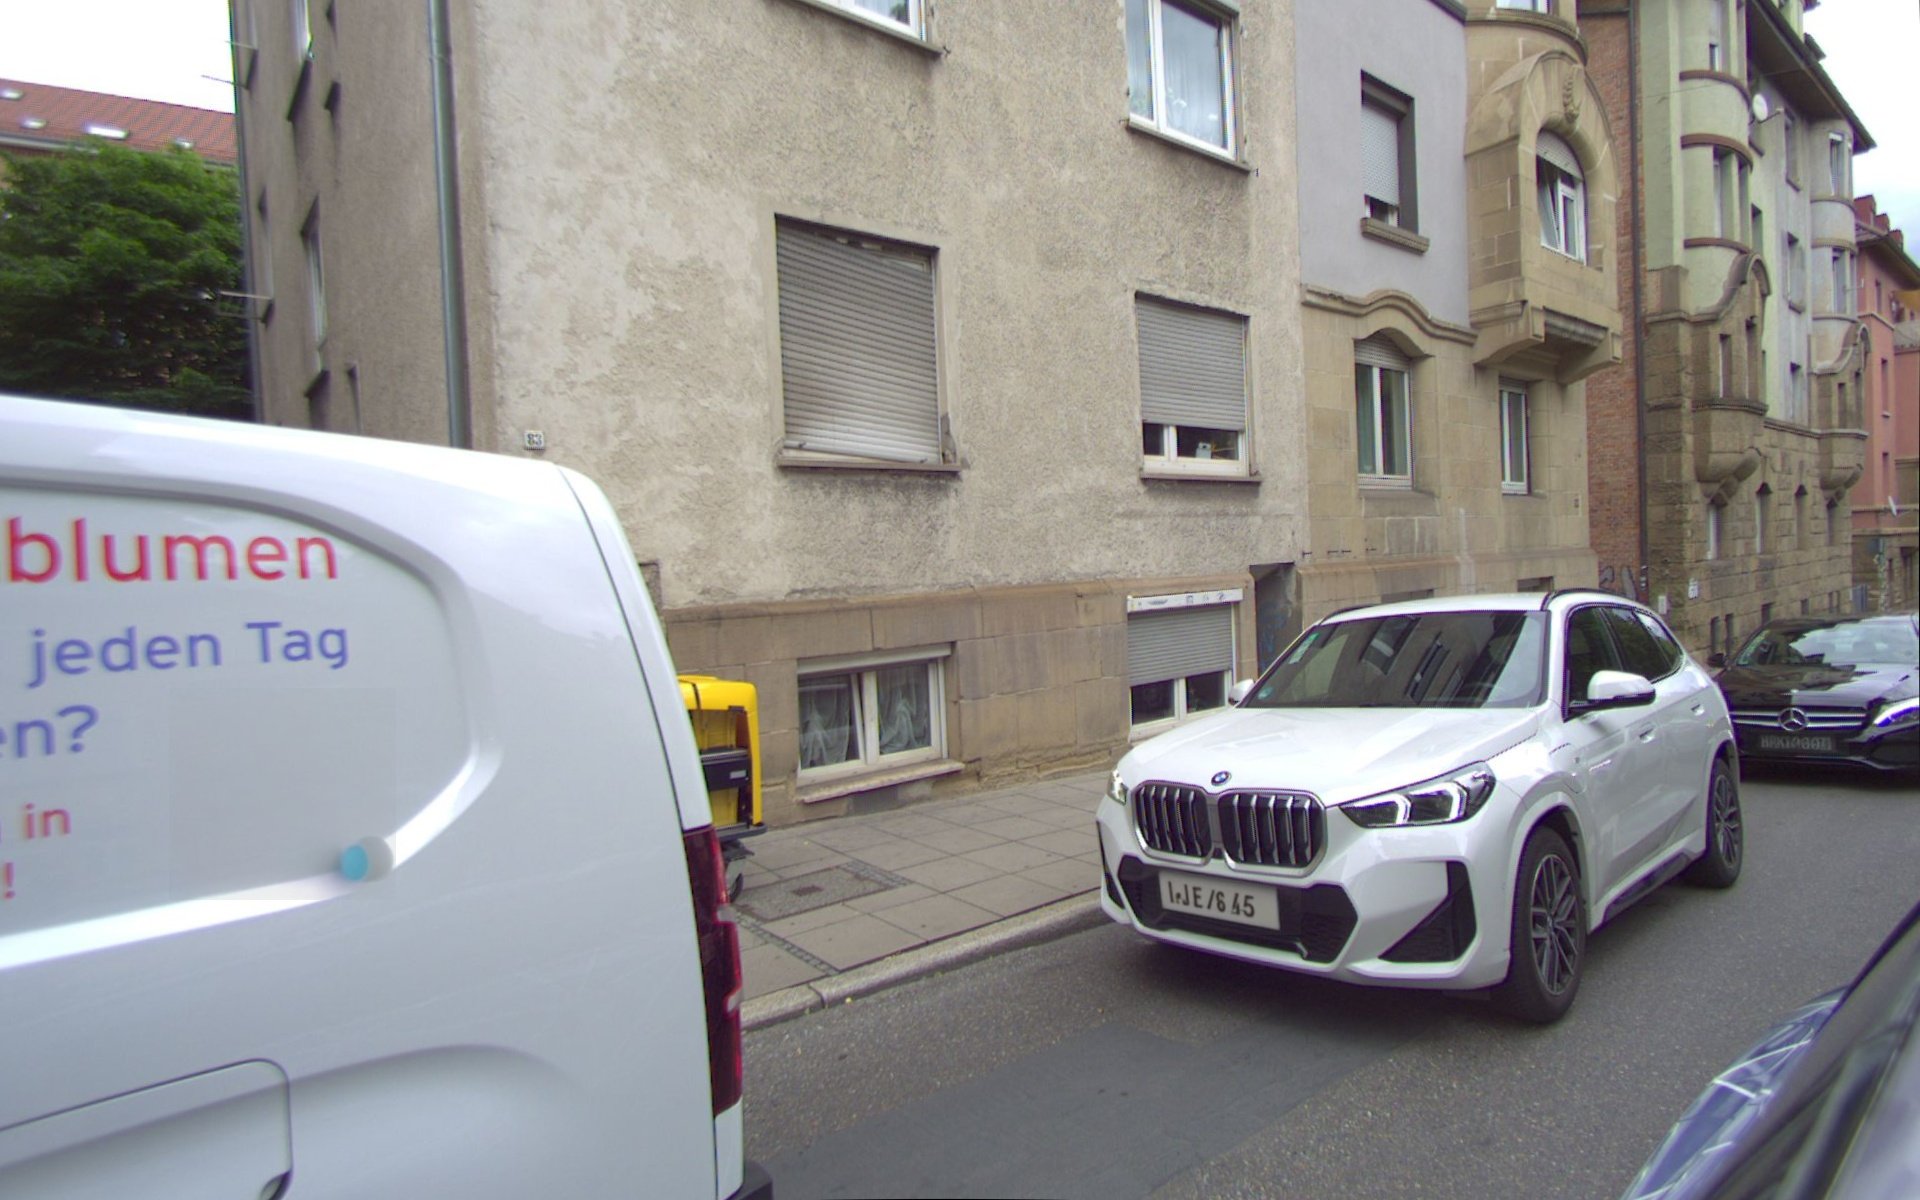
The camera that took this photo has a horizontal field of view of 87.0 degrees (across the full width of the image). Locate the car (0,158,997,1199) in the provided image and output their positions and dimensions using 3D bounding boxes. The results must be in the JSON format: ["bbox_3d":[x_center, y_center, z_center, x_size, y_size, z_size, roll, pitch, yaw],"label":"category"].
[{"bbox_3d":[-2.309,0.542,0.947,4.597,1.798,1.977,-1,-3,-42],"label":"car"}]

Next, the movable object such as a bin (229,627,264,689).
[{"bbox_3d":[-10.985,0.887,15.581,0.405,0.923,0.340,0,0,-40],"label":"movable object such as a bin"}]

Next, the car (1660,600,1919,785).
[{"bbox_3d":[8.451,0.744,9.652,4.133,1.395,1.882,-1,-3,-41],"label":"car"}]

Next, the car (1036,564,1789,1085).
[{"bbox_3d":[2.582,0.720,5.215,4.276,1.576,1.857,-1,-4,-42],"label":"car"}]

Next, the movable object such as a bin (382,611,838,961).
[{"bbox_3d":[-1.810,0.795,5.375,1.979,1.391,1.223,-1,2,-43],"label":"movable object such as a bin"}]

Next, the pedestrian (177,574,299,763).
[{"bbox_3d":[-6.977,0.616,9.780,0.771,1.666,0.810,-7,5,-39],"label":"pedestrian"}]

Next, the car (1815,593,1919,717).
[{"bbox_3d":[13.571,0.664,13.946,4.226,1.534,1.935,-1,-3,-40],"label":"car"}]
